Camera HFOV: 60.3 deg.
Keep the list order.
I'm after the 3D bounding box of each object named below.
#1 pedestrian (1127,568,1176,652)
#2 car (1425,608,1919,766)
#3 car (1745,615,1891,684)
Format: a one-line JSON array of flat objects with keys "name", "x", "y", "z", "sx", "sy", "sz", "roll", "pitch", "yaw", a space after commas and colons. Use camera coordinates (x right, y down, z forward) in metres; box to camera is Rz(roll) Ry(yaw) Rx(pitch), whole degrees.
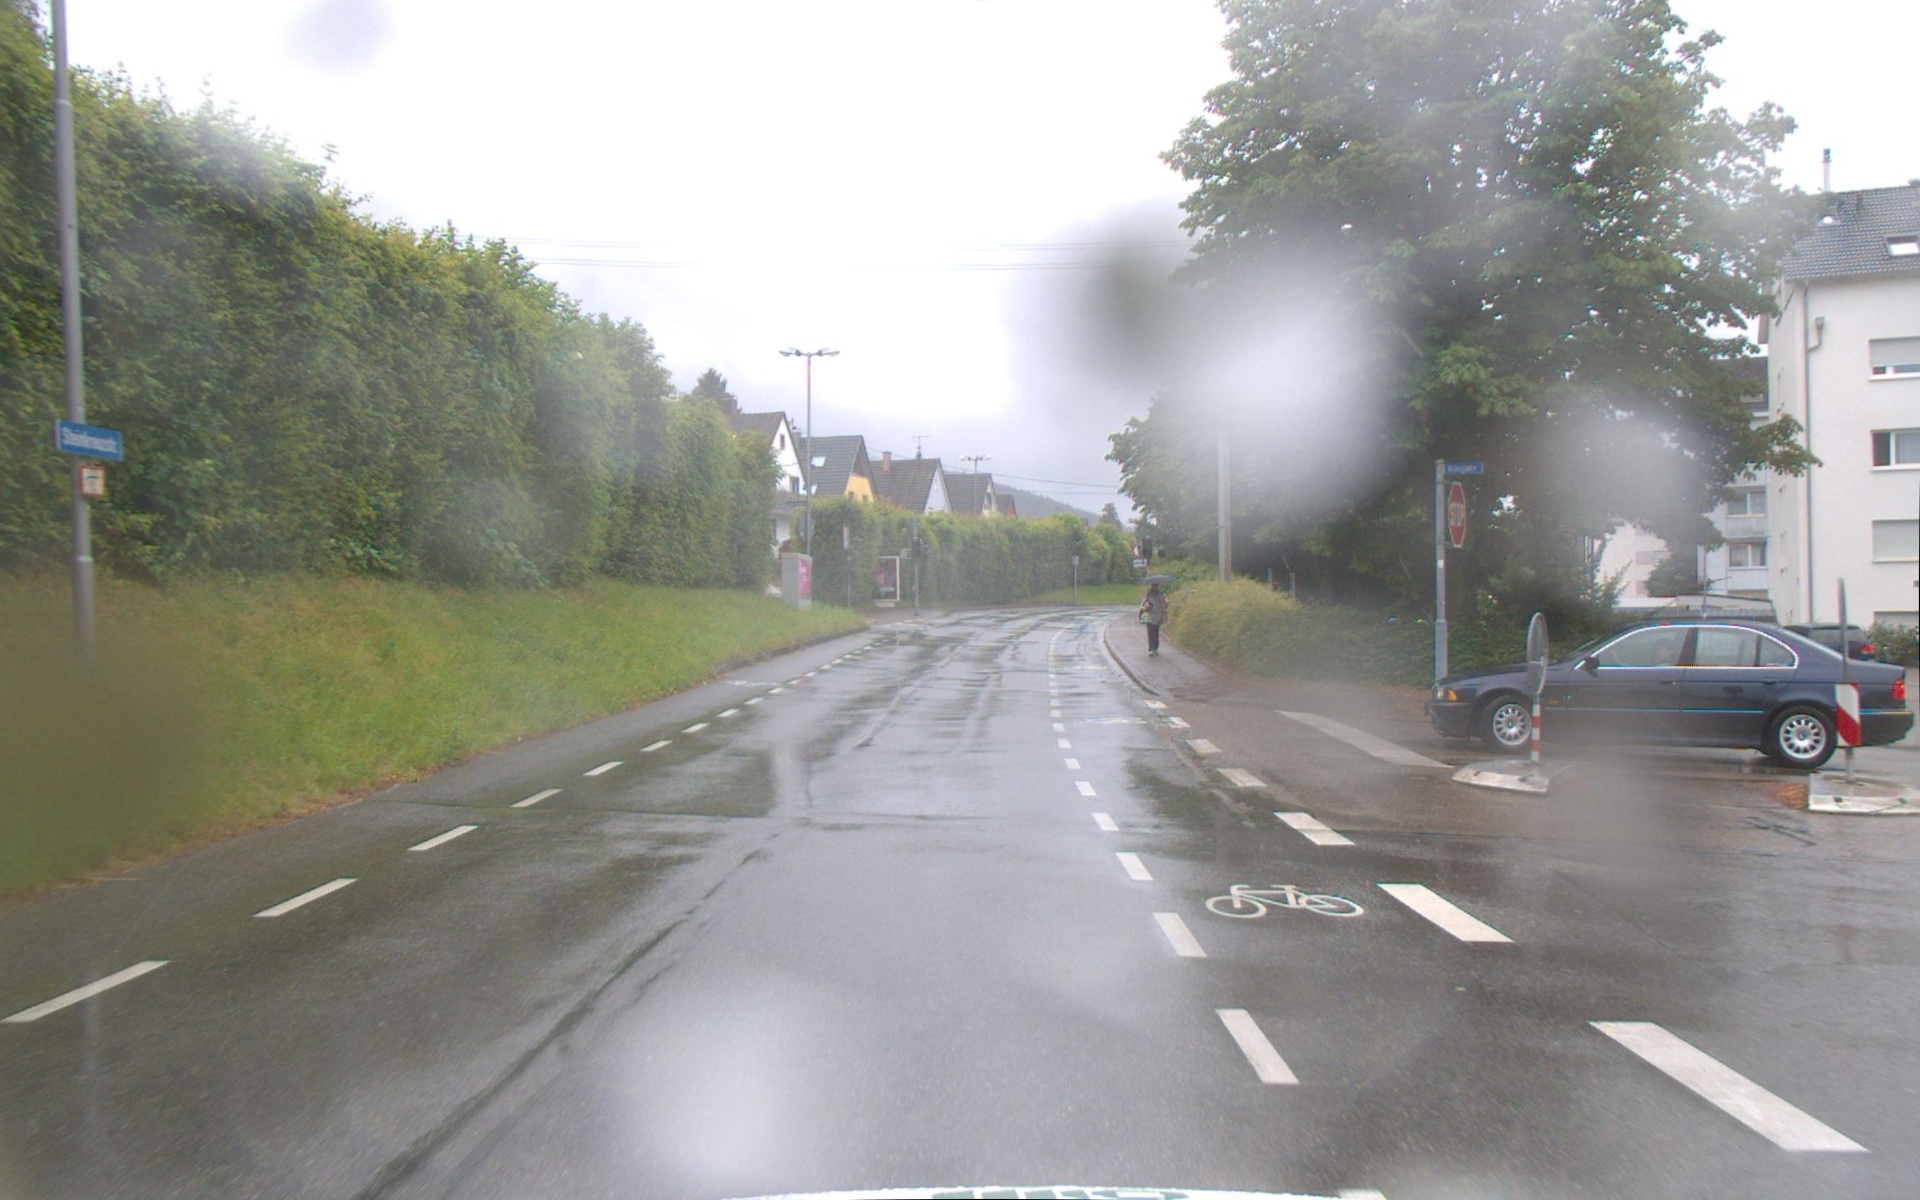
[{"name": "pedestrian", "x": 3.985, "y": 0.206, "z": 34.466, "sx": 0.900, "sy": 1.704, "sz": 1.057, "roll": -2, "pitch": 0, "yaw": 3}, {"name": "car", "x": 7.315, "y": 0.831, "z": 17.381, "sx": 4.506, "sy": 1.412, "sz": 1.947, "roll": 1, "pitch": 0, "yaw": 22}, {"name": "car", "x": 19.821, "y": 1.111, "z": 38.367, "sx": 1.653, "sy": 1.463, "sz": 3.613, "roll": 0, "pitch": 1, "yaw": 3}]
